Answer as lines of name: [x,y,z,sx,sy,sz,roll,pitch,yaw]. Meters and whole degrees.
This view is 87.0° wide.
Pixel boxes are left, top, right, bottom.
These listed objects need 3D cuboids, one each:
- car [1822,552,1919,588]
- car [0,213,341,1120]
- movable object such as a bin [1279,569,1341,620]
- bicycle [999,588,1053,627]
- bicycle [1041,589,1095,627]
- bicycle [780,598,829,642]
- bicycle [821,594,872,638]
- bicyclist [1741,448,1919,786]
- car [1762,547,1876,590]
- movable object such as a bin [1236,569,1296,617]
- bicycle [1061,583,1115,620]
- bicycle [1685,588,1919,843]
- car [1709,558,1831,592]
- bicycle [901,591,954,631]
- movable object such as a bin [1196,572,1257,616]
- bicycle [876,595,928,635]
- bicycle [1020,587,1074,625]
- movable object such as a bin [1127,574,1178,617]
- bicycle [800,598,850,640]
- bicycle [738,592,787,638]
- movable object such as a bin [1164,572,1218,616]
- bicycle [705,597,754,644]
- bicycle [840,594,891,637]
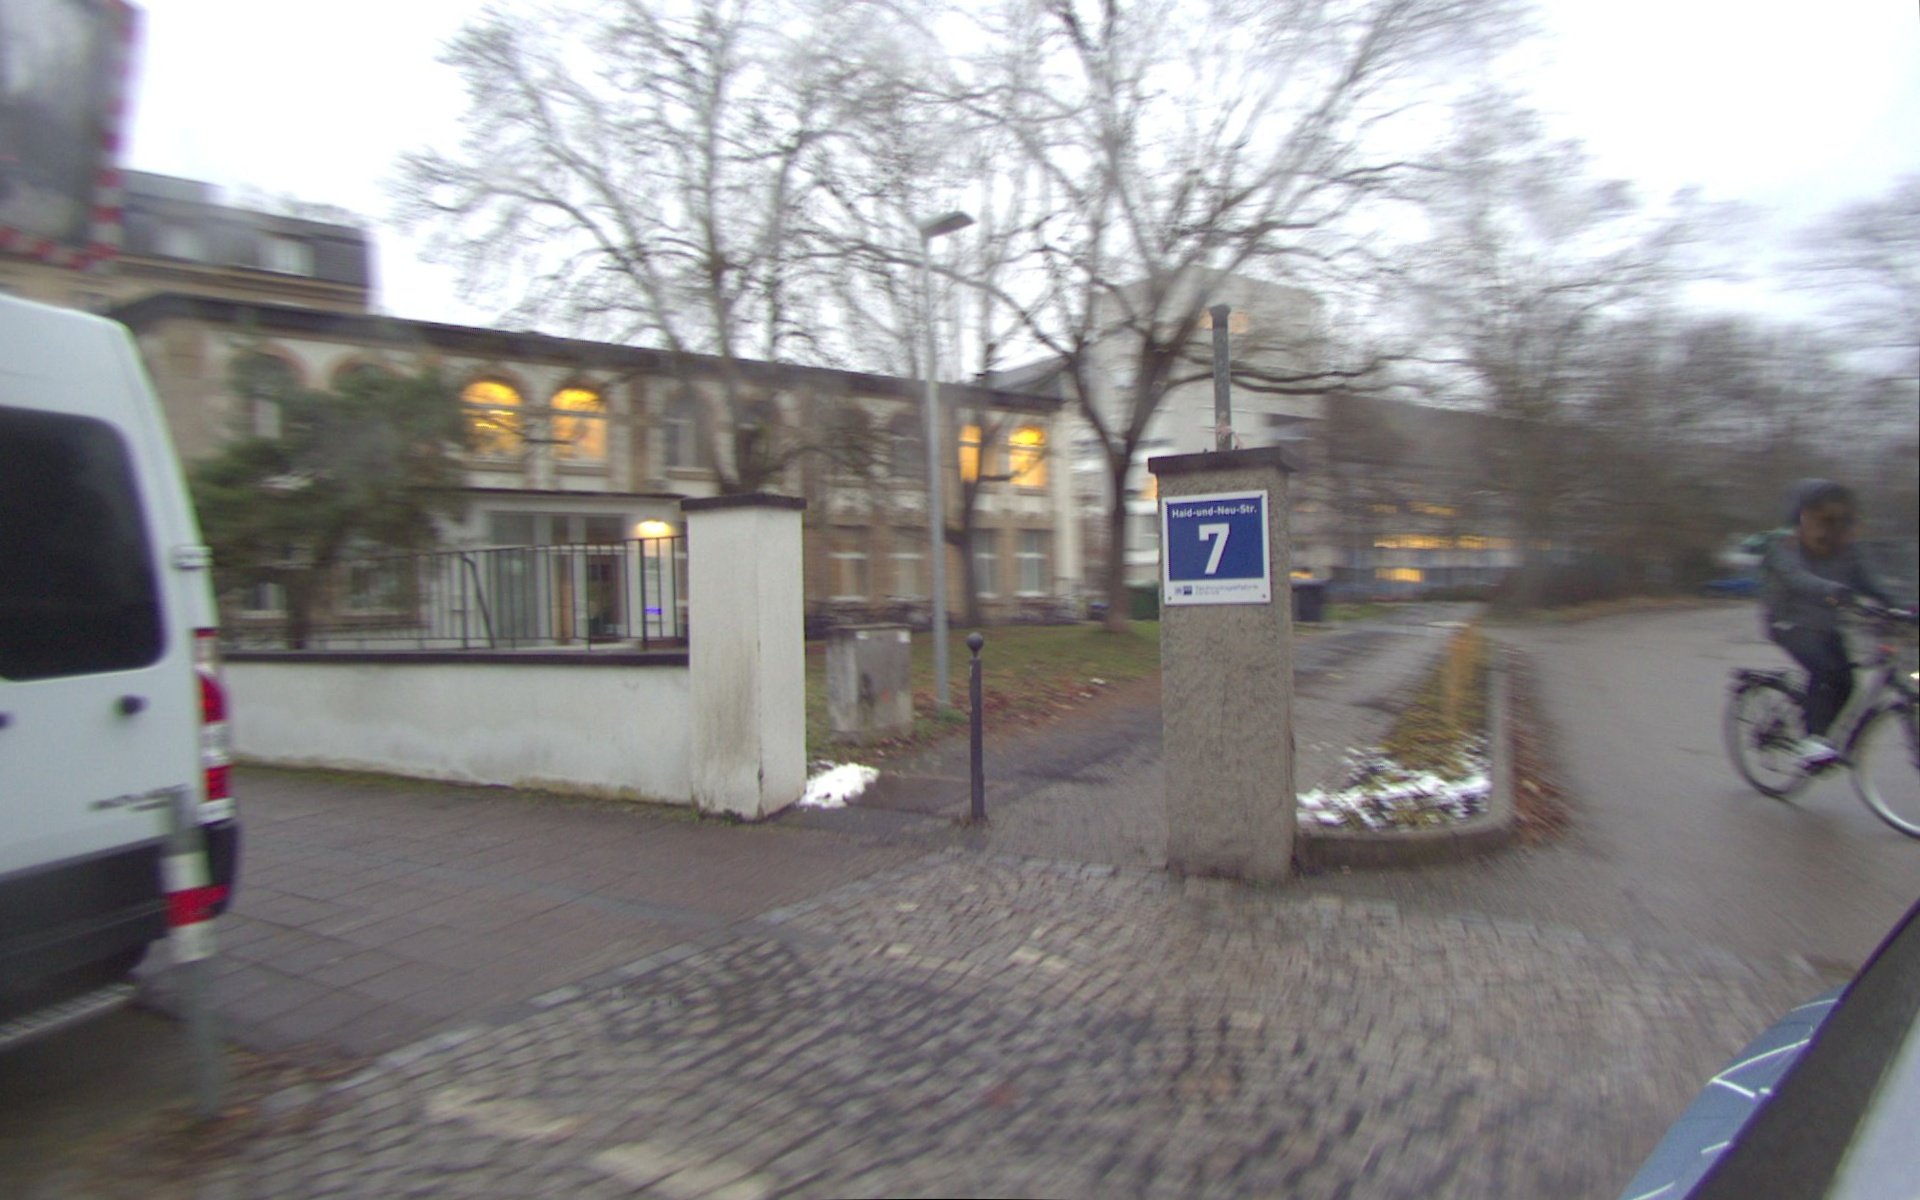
car: [49.573,-1.605,54.831,1.767,1.818,4.003,-2,1,-31]
car: [-5.146,0.233,3.878,5.383,2.517,2.113,-1,2,26]
movable object such as a bin: [9.571,-0.162,27.663,1.317,1.333,1.048,1,2,39]
bicycle: [2.073,0.236,32.101,0.562,1.171,2.143,-2,1,-31]
bicycle: [3.520,0.255,33.256,0.562,1.171,2.143,-2,1,-31]
bicycle: [-4.298,0.528,27.812,0.562,1.063,2.144,-2,3,-31]
bicycle: [-3.218,0.427,28.501,0.562,1.171,2.143,-2,1,-31]
bicyclist: [4.898,0.080,5.507,0.695,1.710,0.770,-2,1,7]
car: [43.595,-1.577,51.431,1.961,2.016,4.003,-2,1,-31]
movable object such as a bin: [8.699,-0.199,28.793,0.970,1.330,1.306,-2,1,-38]
bicycle: [4.270,0.049,33.866,0.562,1.171,2.143,-2,1,-31]
bicycle: [4.913,0.528,5.517,0.718,1.147,1.890,-2,1,7]
car: [38.629,-1.161,48.360,1.962,1.497,4.181,1,-1,-34]
bicycle: [-0.986,0.308,30.058,0.562,1.124,2.143,-2,1,-31]
movable object such as a bin: [7.876,-0.167,29.897,0.970,1.240,1.437,-2,1,-38]
bicycle: [-1.718,0.413,29.547,0.562,1.106,2.143,-2,1,-31]
bicycle: [2.780,0.173,32.613,0.562,1.171,2.143,-2,1,-31]
movable object such as a bin: [6.106,-0.145,32.132,0.970,1.330,1.262,-2,1,-38]
bicycle: [-3.765,0.511,28.166,0.562,1.029,2.144,-2,3,-31]
bicycle: [-5.282,0.374,26.960,0.562,1.171,2.143,-2,1,-31]
movable object such as a bin: [7.077,-0.195,31.042,0.970,1.296,1.250,-2,1,-38]
bicycle: [-6.047,0.510,26.469,0.562,1.171,2.143,-2,1,-31]
bicycle: [-2.708,0.424,28.834,0.562,1.171,2.143,-2,1,-31]
